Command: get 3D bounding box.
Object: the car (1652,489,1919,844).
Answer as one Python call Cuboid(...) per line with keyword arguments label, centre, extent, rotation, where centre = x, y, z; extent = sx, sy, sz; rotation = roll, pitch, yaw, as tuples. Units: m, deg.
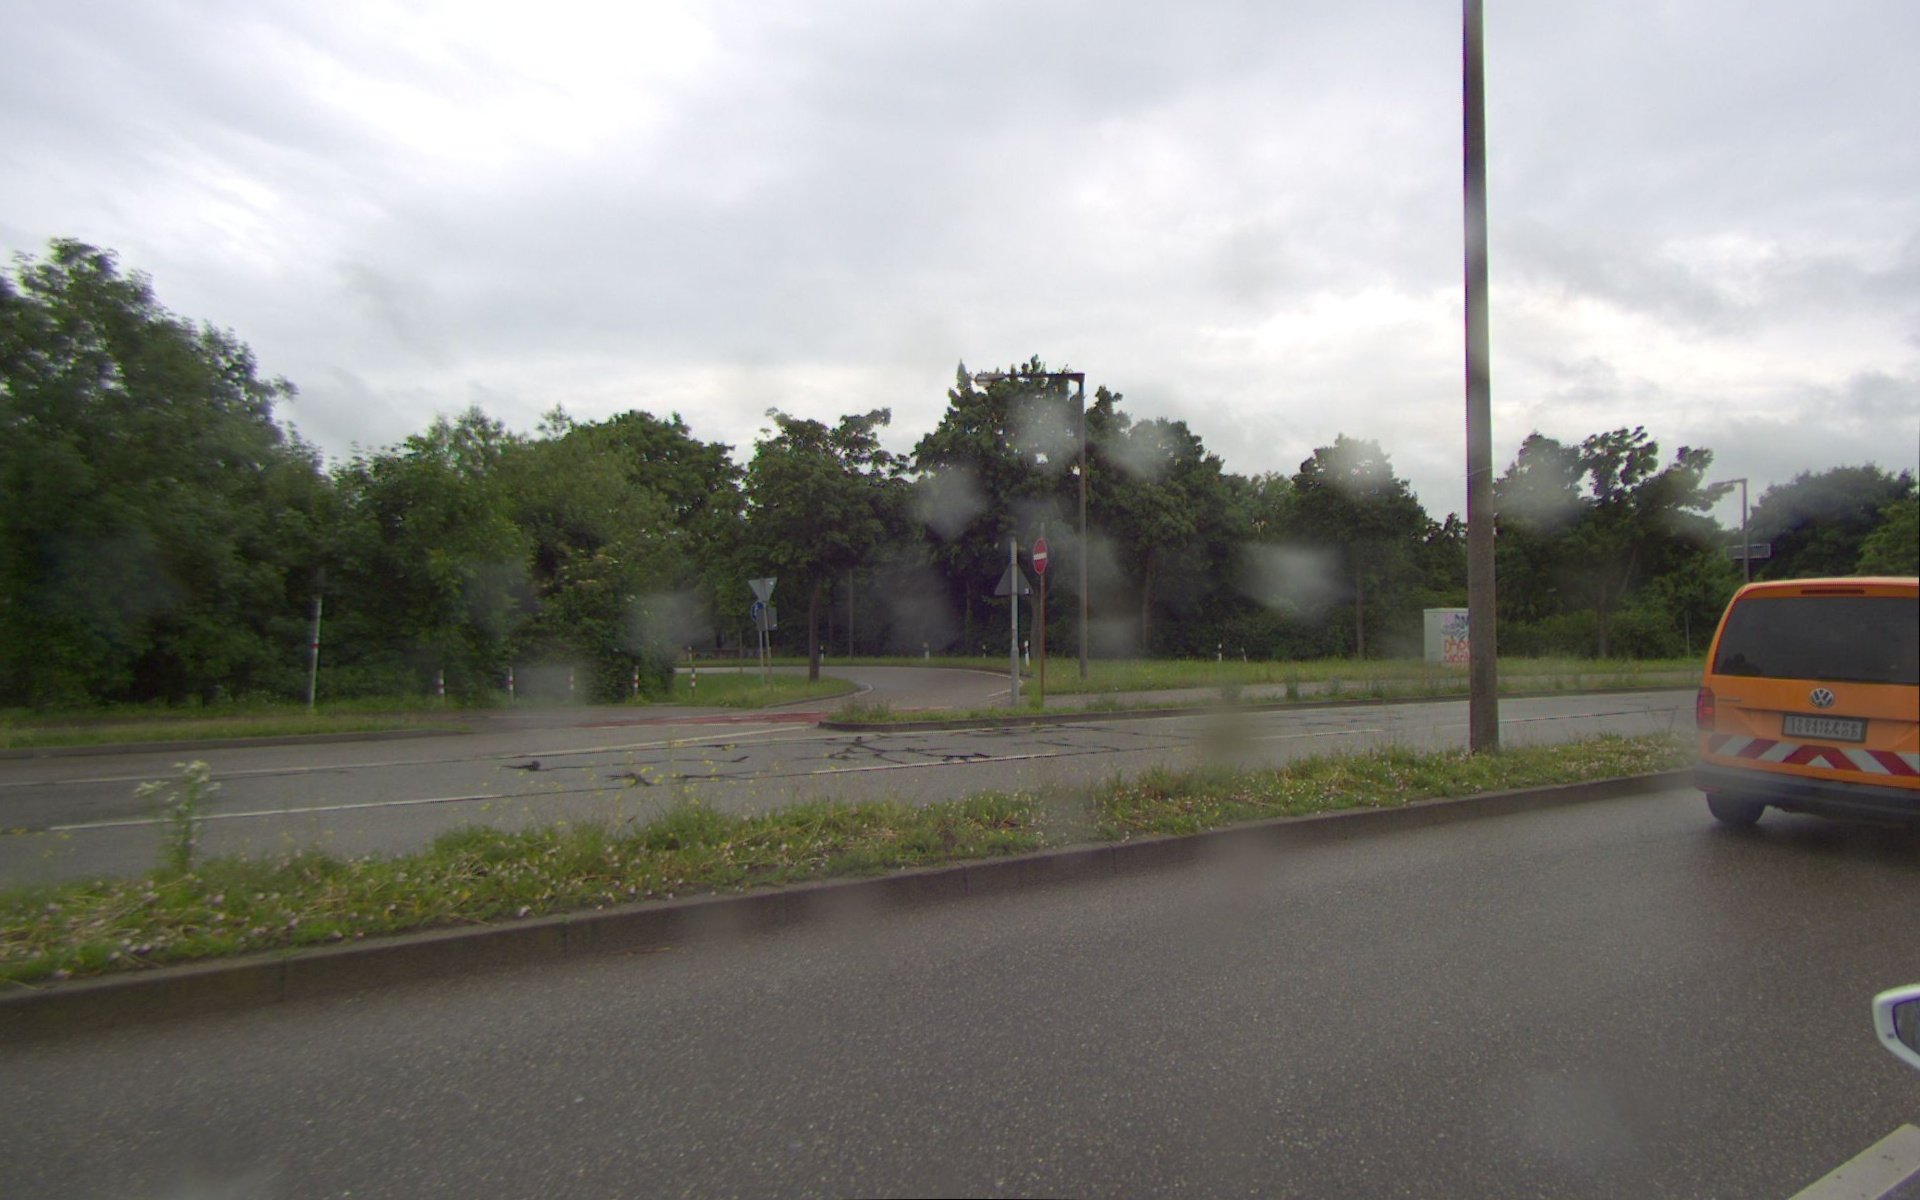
Cuboid(label="car", centre=(7.332, 0.435, 7.485), extent=(4.793, 2.046, 1.726), rotation=(2, 0, -31))
